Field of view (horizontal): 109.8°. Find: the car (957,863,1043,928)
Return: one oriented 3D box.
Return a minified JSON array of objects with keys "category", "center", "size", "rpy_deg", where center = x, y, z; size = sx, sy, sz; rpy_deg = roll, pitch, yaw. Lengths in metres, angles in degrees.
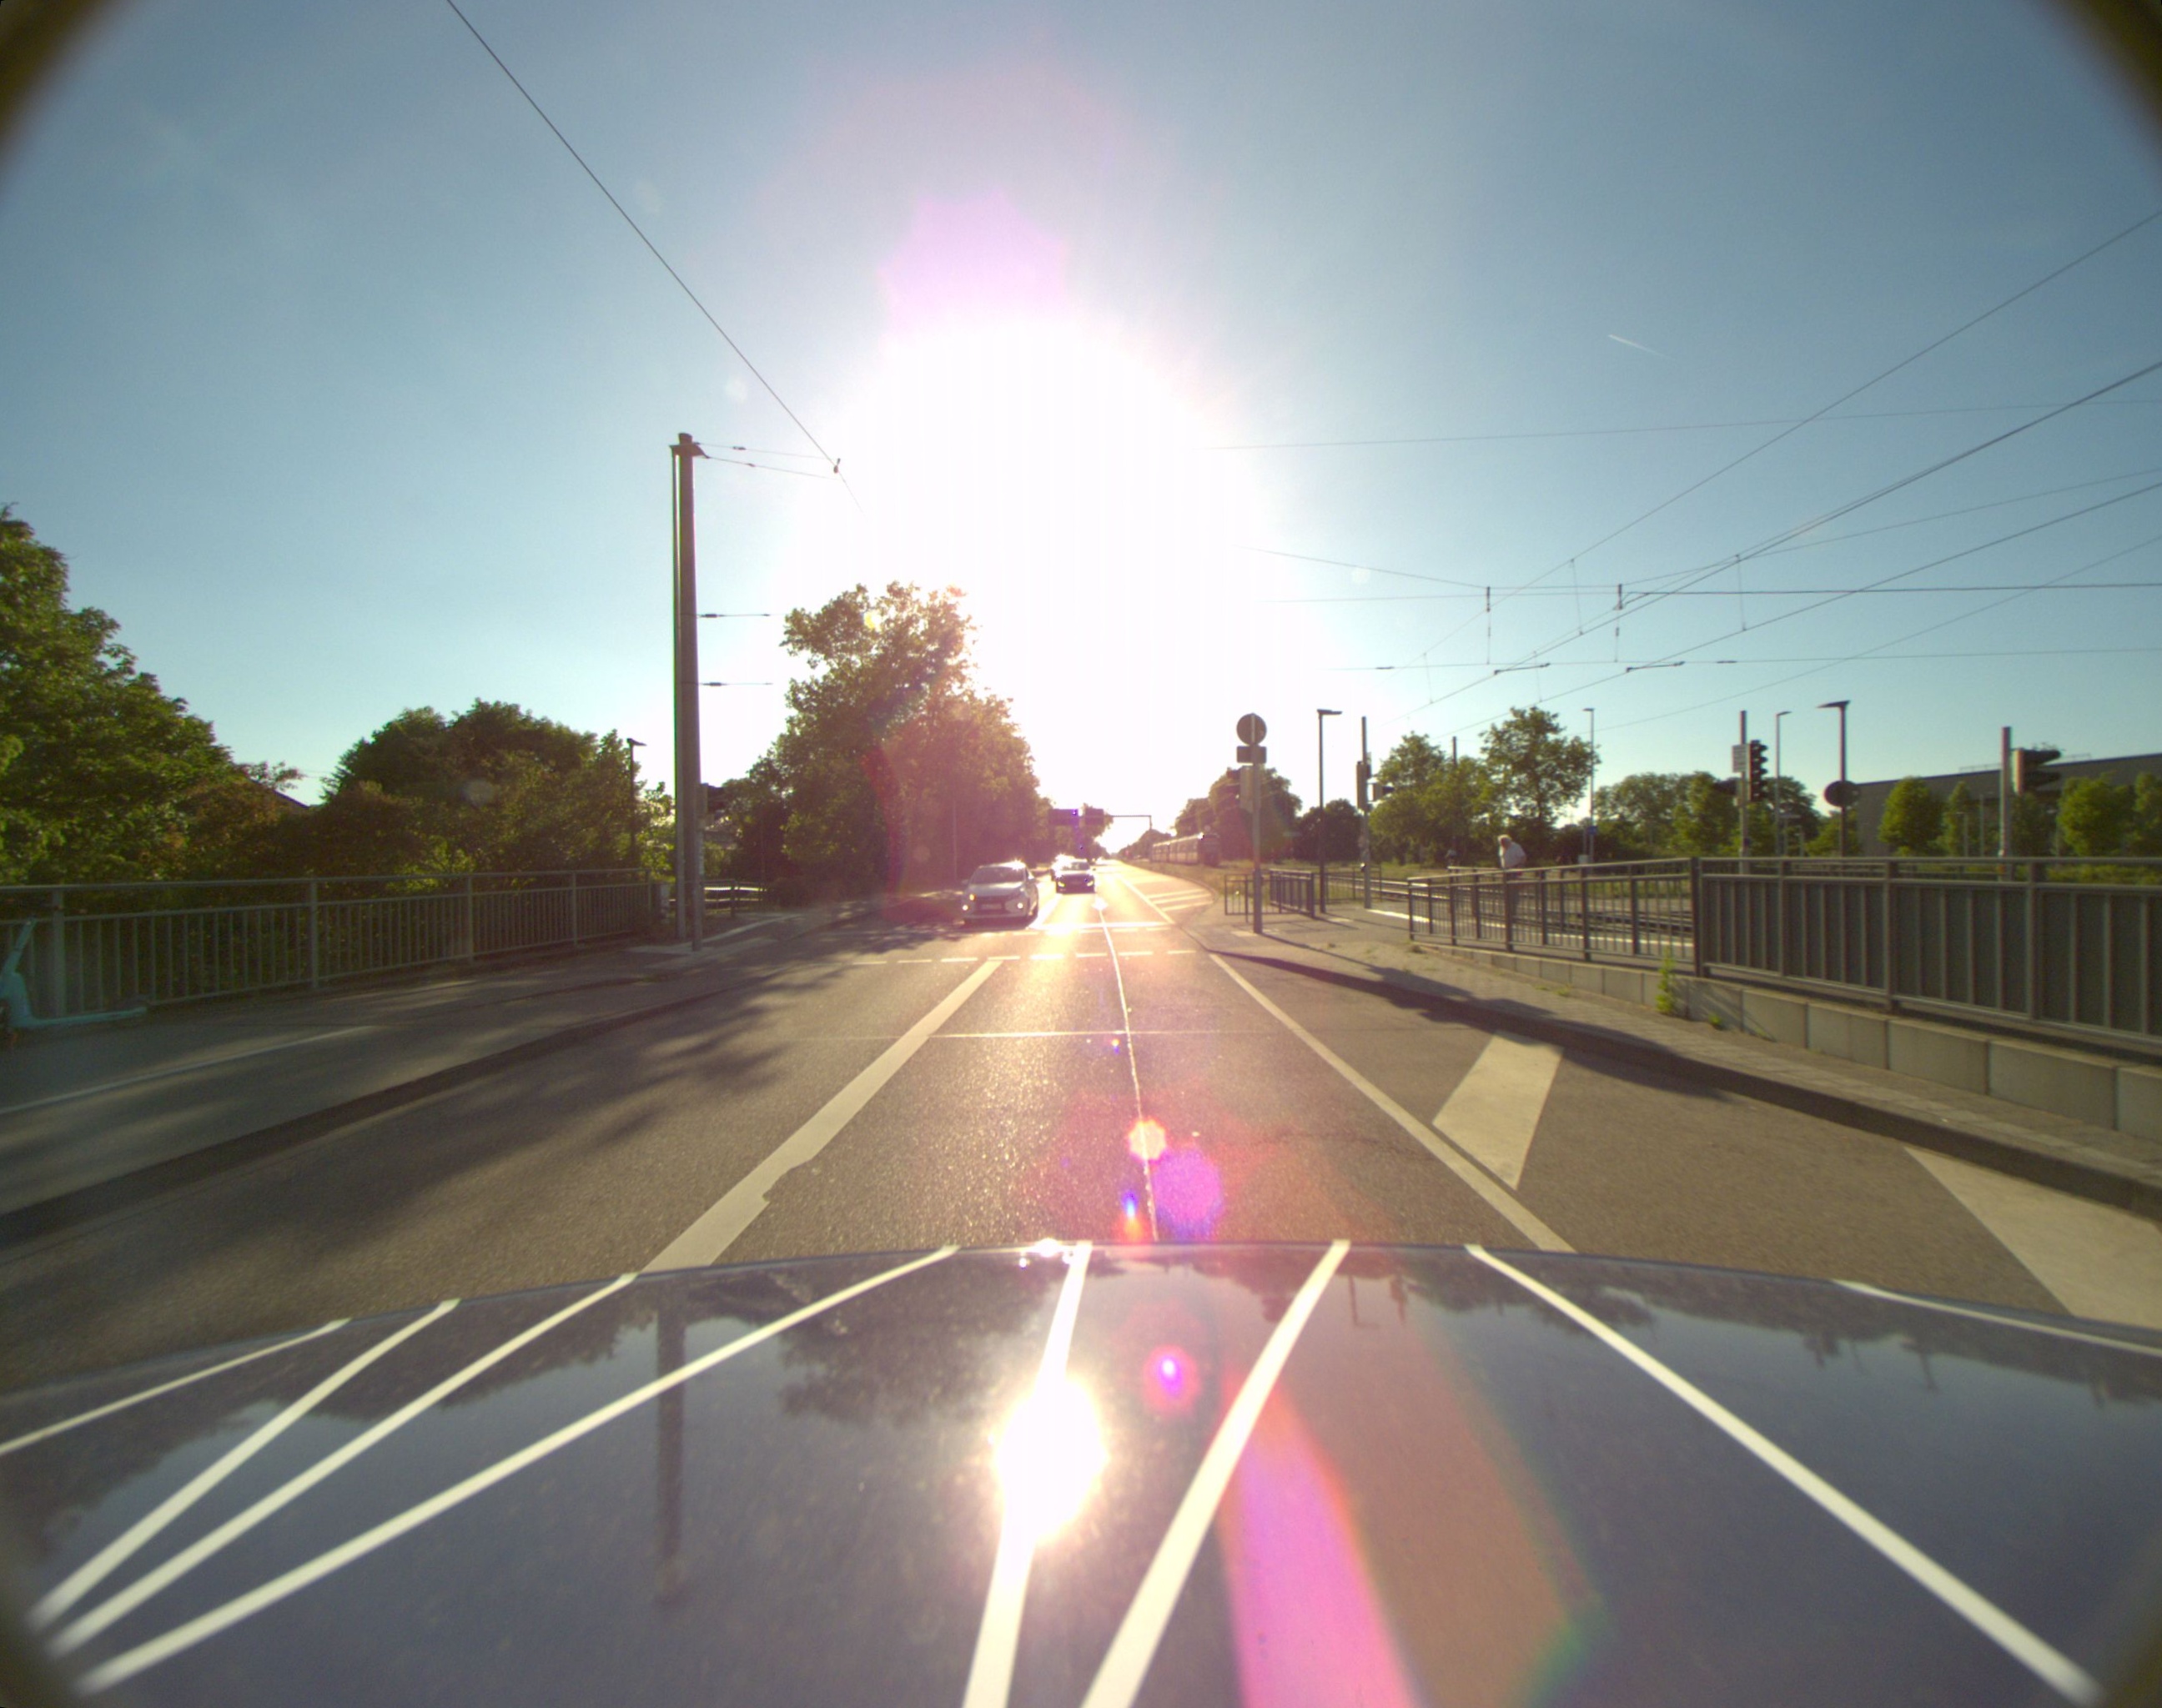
[{"category":"car","center":[-2.040,1.026,20.081],"size":[1.670,1.465,3.745],"rpy_deg":[-1,0,3]}]

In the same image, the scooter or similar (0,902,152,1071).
[{"category":"scooter or similar","center":[-8.726,1.078,6.399],"size":[0.427,1.267,1.083],"rpy_deg":[-1,0,1]}]

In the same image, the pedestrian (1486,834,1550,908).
[{"category":"pedestrian","center":[9.993,0.376,17.418],"size":[0.891,1.635,0.987],"rpy_deg":[-1,1,1]}]

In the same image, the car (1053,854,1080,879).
[{"category":"car","center":[-0.990,0.865,54.722],"size":[1.824,1.608,4.000],"rpy_deg":[-2,0,0]}]

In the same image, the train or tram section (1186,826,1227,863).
[{"category":"train or tram section","center":[14.272,-1.042,87.555],"size":[2.891,3.924,12.112],"rpy_deg":[-1,0,1]}]

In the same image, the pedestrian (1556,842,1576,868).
[{"category":"pedestrian","center":[30.363,0.090,47.569],"size":[0.722,1.599,0.879],"rpy_deg":[-1,1,2]}]

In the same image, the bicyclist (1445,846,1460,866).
[{"category":"bicyclist","center":[29.249,0.163,59.815],"size":[0.770,1.608,0.835],"rpy_deg":[-1,1,2]}]

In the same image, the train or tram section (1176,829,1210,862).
[{"category":"train or tram section","center":[14.510,-1.074,99.256],"size":[2.891,3.924,11.340],"rpy_deg":[-1,0,1]}]

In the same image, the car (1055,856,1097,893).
[{"category":"car","center":[-0.165,0.888,35.406],"size":[1.786,1.530,3.999],"rpy_deg":[0,1,2]}]

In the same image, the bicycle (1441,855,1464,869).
[{"category":"bicycle","center":[29.258,0.615,59.876],"size":[0.632,1.121,2.528],"rpy_deg":[-1,0,2]}]
